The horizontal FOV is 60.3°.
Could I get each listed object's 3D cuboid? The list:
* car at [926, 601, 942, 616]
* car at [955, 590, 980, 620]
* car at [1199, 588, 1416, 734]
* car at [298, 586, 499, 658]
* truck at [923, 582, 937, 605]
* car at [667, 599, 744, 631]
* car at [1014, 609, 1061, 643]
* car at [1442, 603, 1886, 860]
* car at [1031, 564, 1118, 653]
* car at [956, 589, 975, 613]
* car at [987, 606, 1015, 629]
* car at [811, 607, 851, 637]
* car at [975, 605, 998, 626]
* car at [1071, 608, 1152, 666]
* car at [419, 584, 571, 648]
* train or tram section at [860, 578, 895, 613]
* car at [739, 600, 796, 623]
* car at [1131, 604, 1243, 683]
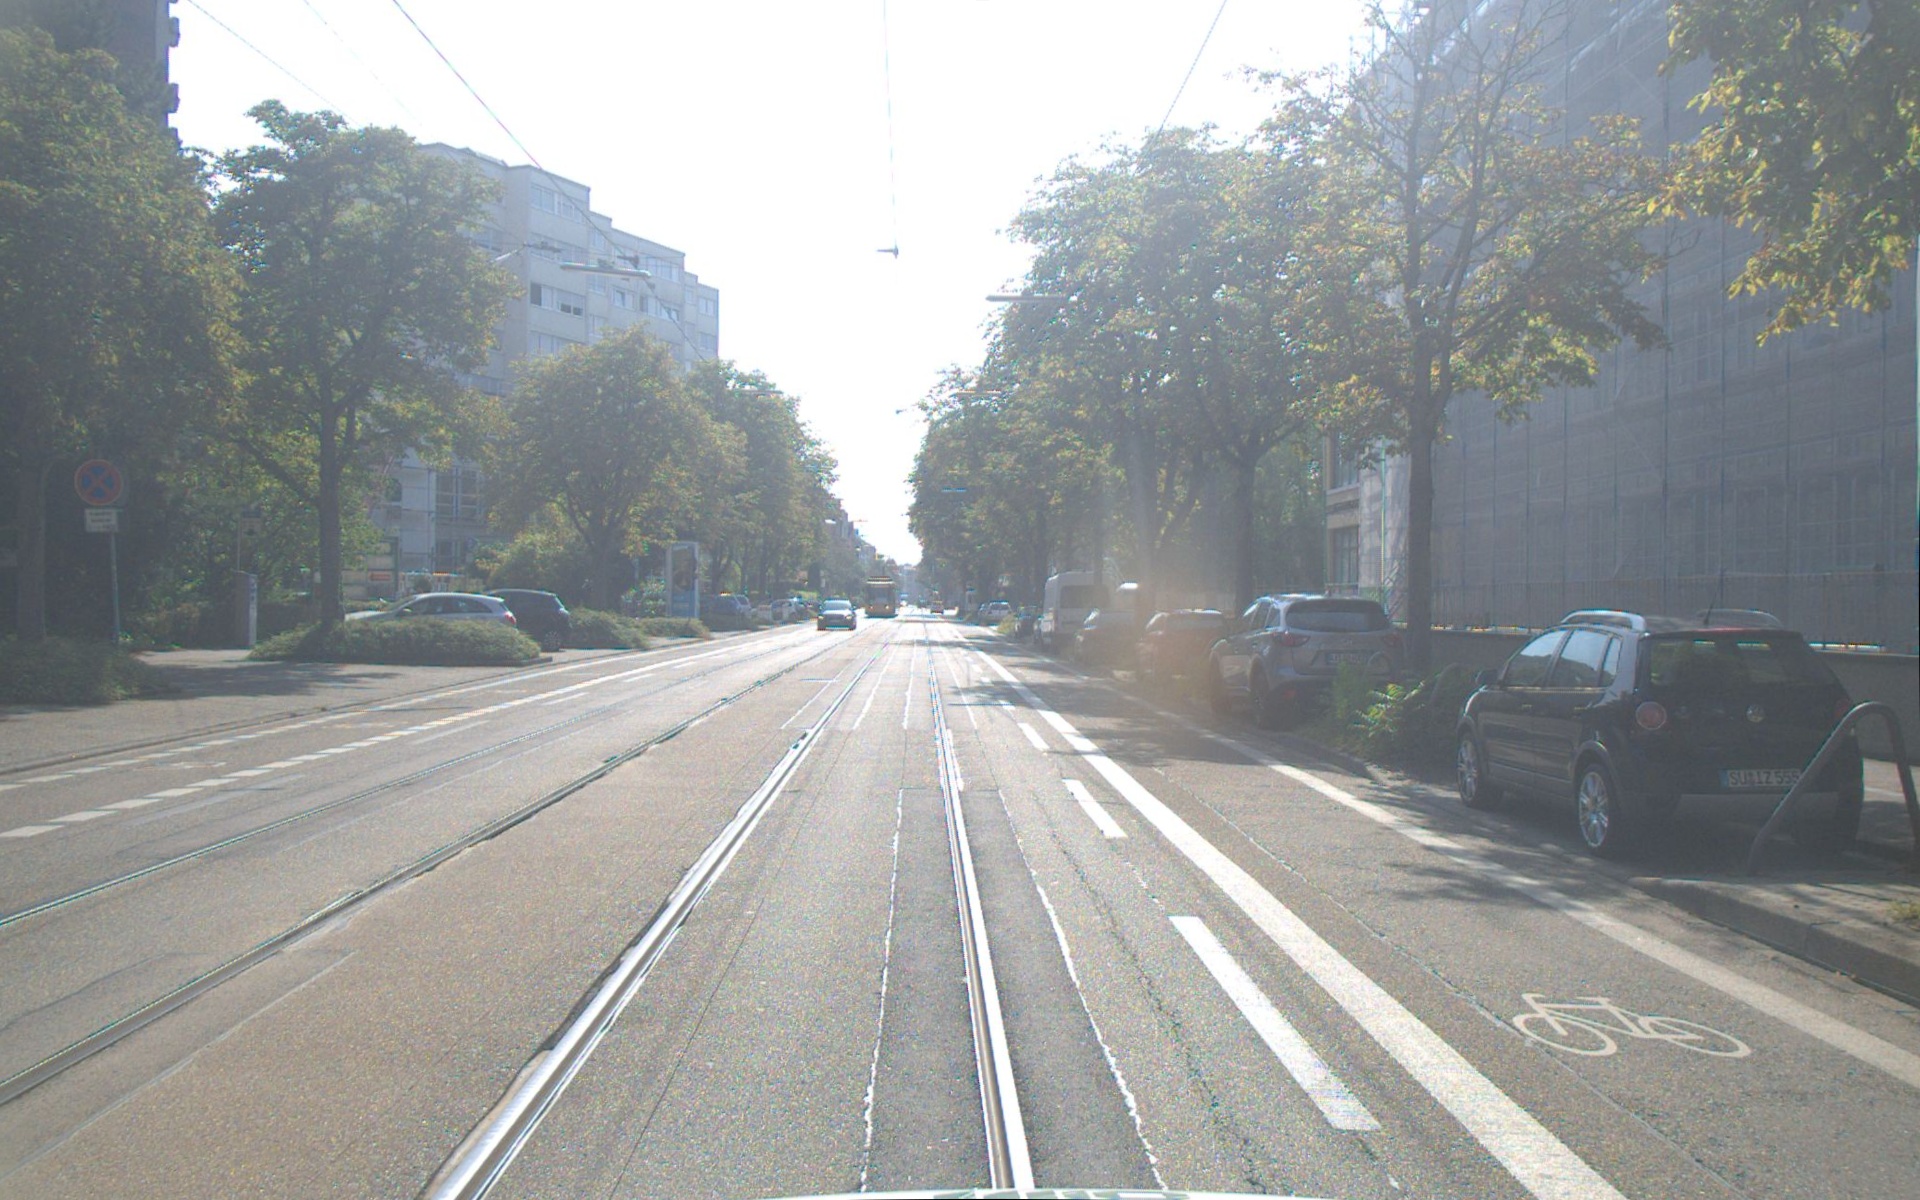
[{"bbox_3d":[-3.212,1.048,203.166,1.953,1.870,4.000,1,0,0],"label":"car"},{"bbox_3d":[0.651,0.461,147.296,1.964,2.534,4.476,3,-1,-1],"label":"car"},{"bbox_3d":[4.487,0.718,22.034,1.718,1.721,4.393,1,0,-3],"label":"car"},{"bbox_3d":[-12.397,0.485,36.583,3.947,1.505,1.770,1,0,-31],"label":"car"},{"bbox_3d":[-4.342,-0.877,236.062,1.824,3.185,4.349,1,0,-3],"label":"truck"},{"bbox_3d":[-13.394,0.773,87.070,1.714,1.650,3.770,0,0,44],"label":"car"},{"bbox_3d":[3.347,1.122,72.243,1.718,1.402,4.717,-1,0,-1],"label":"car"},{"bbox_3d":[4.823,0.802,11.914,1.544,1.511,3.737,1,0,-1],"label":"car"},{"bbox_3d":[3.627,0.274,53.208,2.041,2.597,5.498,-3,0,-3],"label":"car"},{"bbox_3d":[0.572,0.124,174.197,1.964,2.518,4.476,1,0,-1],"label":"car"},{"bbox_3d":[2.625,1.107,105.577,1.655,1.443,3.633,1,0,-1],"label":"car"},{"bbox_3d":[-6.349,1.054,81.661,1.792,1.400,4.510,1,0,-2],"label":"car"},{"bbox_3d":[1.914,1.103,119.349,1.562,1.443,3.633,1,0,-1],"label":"car"},{"bbox_3d":[3.871,0.925,42.940,1.583,1.398,4.826,0,0,-1],"label":"car"},{"bbox_3d":[-12.177,0.414,43.329,3.590,1.542,1.608,2,0,-27],"label":"car"},{"bbox_3d":[-7.217,-0.332,146.915,2.673,2.945,15.449,0,0,-1],"label":"train or tram section"},{"bbox_3d":[-12.597,0.747,108.558,1.540,1.468,3.746,0,0,38],"label":"car"},{"bbox_3d":[4.400,0.811,32.528,1.584,1.438,3.999,0,0,-1],"label":"car"}]
